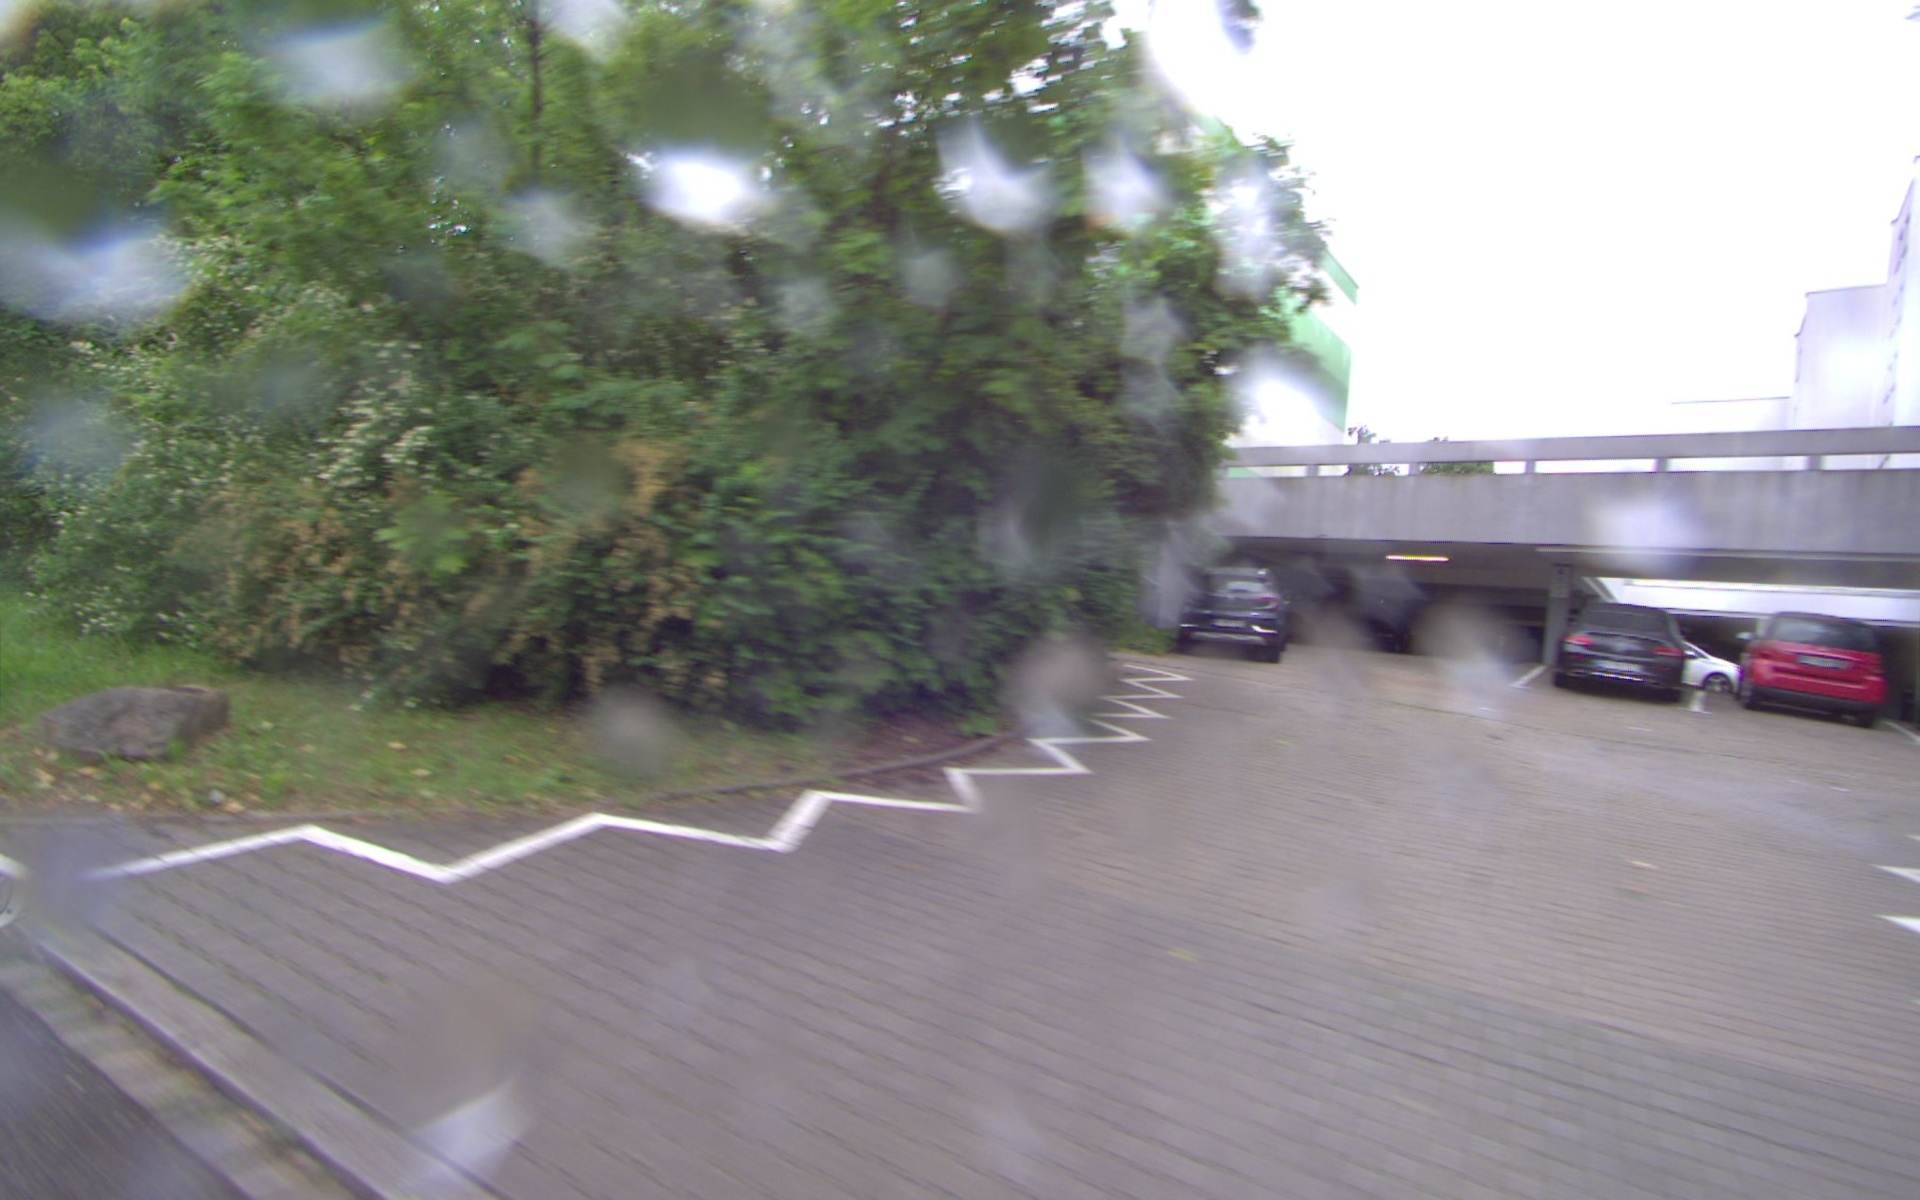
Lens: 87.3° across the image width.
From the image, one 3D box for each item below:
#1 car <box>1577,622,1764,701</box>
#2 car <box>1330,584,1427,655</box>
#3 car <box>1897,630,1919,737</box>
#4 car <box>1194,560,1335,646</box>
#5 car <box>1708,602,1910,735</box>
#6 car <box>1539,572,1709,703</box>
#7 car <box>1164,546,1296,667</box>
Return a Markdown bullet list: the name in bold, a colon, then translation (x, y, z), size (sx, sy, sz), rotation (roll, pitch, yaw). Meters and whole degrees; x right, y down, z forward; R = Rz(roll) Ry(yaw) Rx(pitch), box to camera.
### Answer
- **car**: translation (19.913, 1.681, 28.286), size (3.946, 1.661, 1.917), rotation (7, 2, 43)
- **car**: translation (13.887, 0.659, 33.278), size (1.969, 2.040, 3.984), rotation (7, 2, 35)
- **car**: translation (15.250, 1.316, 14.513), size (1.970, 1.660, 3.986), rotation (7, 0, 37)
- **car**: translation (7.429, 0.119, 24.330), size (1.905, 1.593, 3.987), rotation (7, -1, 37)
- **car**: translation (13.465, 1.107, 16.215), size (1.928, 1.682, 3.989), rotation (7, 0, 35)
- **car**: translation (11.164, 0.685, 16.783), size (1.970, 1.771, 3.986), rotation (7, 0, 37)
- **car**: translation (4.961, -0.003, 18.732), size (1.962, 1.776, 3.992), rotation (6, 5, 13)
